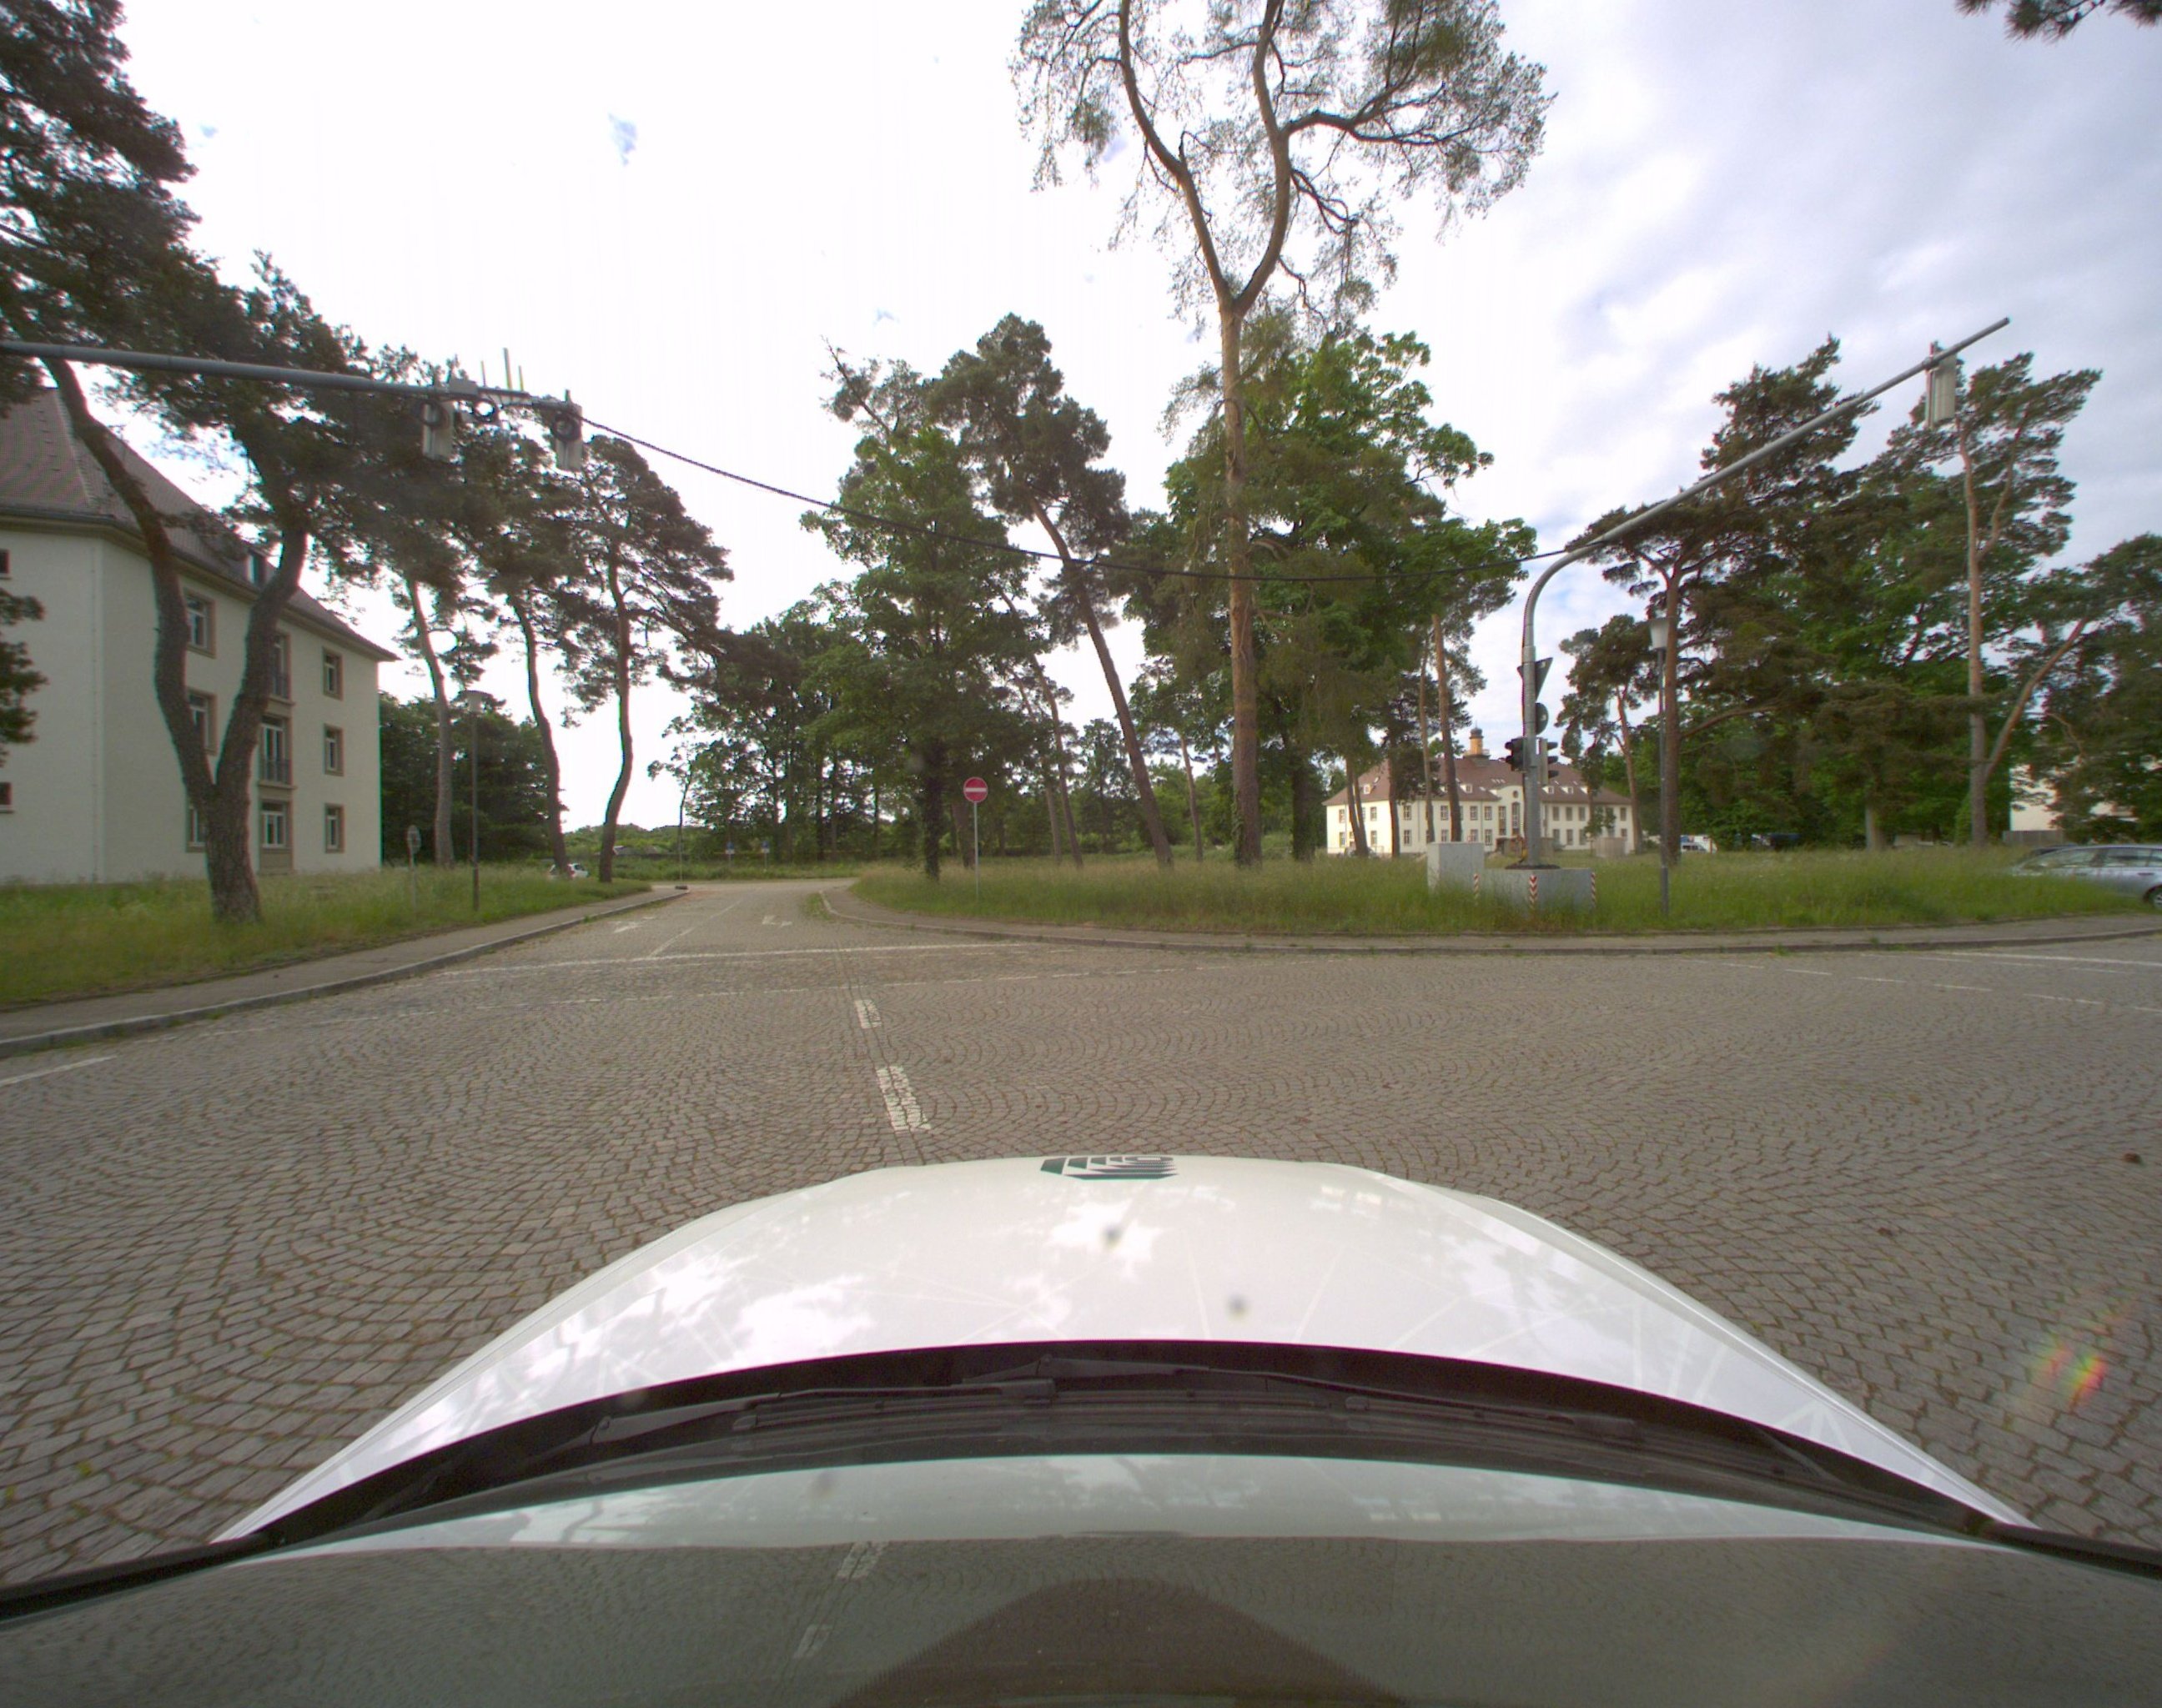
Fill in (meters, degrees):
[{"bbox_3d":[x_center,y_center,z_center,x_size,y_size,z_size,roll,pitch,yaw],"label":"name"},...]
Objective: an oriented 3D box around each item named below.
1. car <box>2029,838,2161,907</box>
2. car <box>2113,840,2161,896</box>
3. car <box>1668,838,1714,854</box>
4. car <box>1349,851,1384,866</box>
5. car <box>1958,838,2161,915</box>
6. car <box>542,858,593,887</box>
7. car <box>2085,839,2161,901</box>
[{"bbox_3d":[24.972,0.398,18.401,1.937,1.548,4.232,-1,0,-22],"label":"car"},{"bbox_3d":[29.595,0.351,20.470,1.864,1.476,4.153,-1,0,-19],"label":"car"},{"bbox_3d":[78.156,-1.070,104.401,5.225,2.014,1.989,0,-1,-17],"label":"car"},{"bbox_3d":[41.855,0.672,119.489,2.004,2.200,4.995,-1,0,-26],"label":"car"},{"bbox_3d":[22.319,0.441,17.732,1.905,1.543,3.973,-1,0,-20],"label":"car"},{"bbox_3d":[-33.835,1.175,53.751,1.720,1.807,3.978,-1,0,-16],"label":"car"},{"bbox_3d":[27.562,0.369,19.307,1.936,1.507,4.358,-1,0,-21],"label":"car"}]
